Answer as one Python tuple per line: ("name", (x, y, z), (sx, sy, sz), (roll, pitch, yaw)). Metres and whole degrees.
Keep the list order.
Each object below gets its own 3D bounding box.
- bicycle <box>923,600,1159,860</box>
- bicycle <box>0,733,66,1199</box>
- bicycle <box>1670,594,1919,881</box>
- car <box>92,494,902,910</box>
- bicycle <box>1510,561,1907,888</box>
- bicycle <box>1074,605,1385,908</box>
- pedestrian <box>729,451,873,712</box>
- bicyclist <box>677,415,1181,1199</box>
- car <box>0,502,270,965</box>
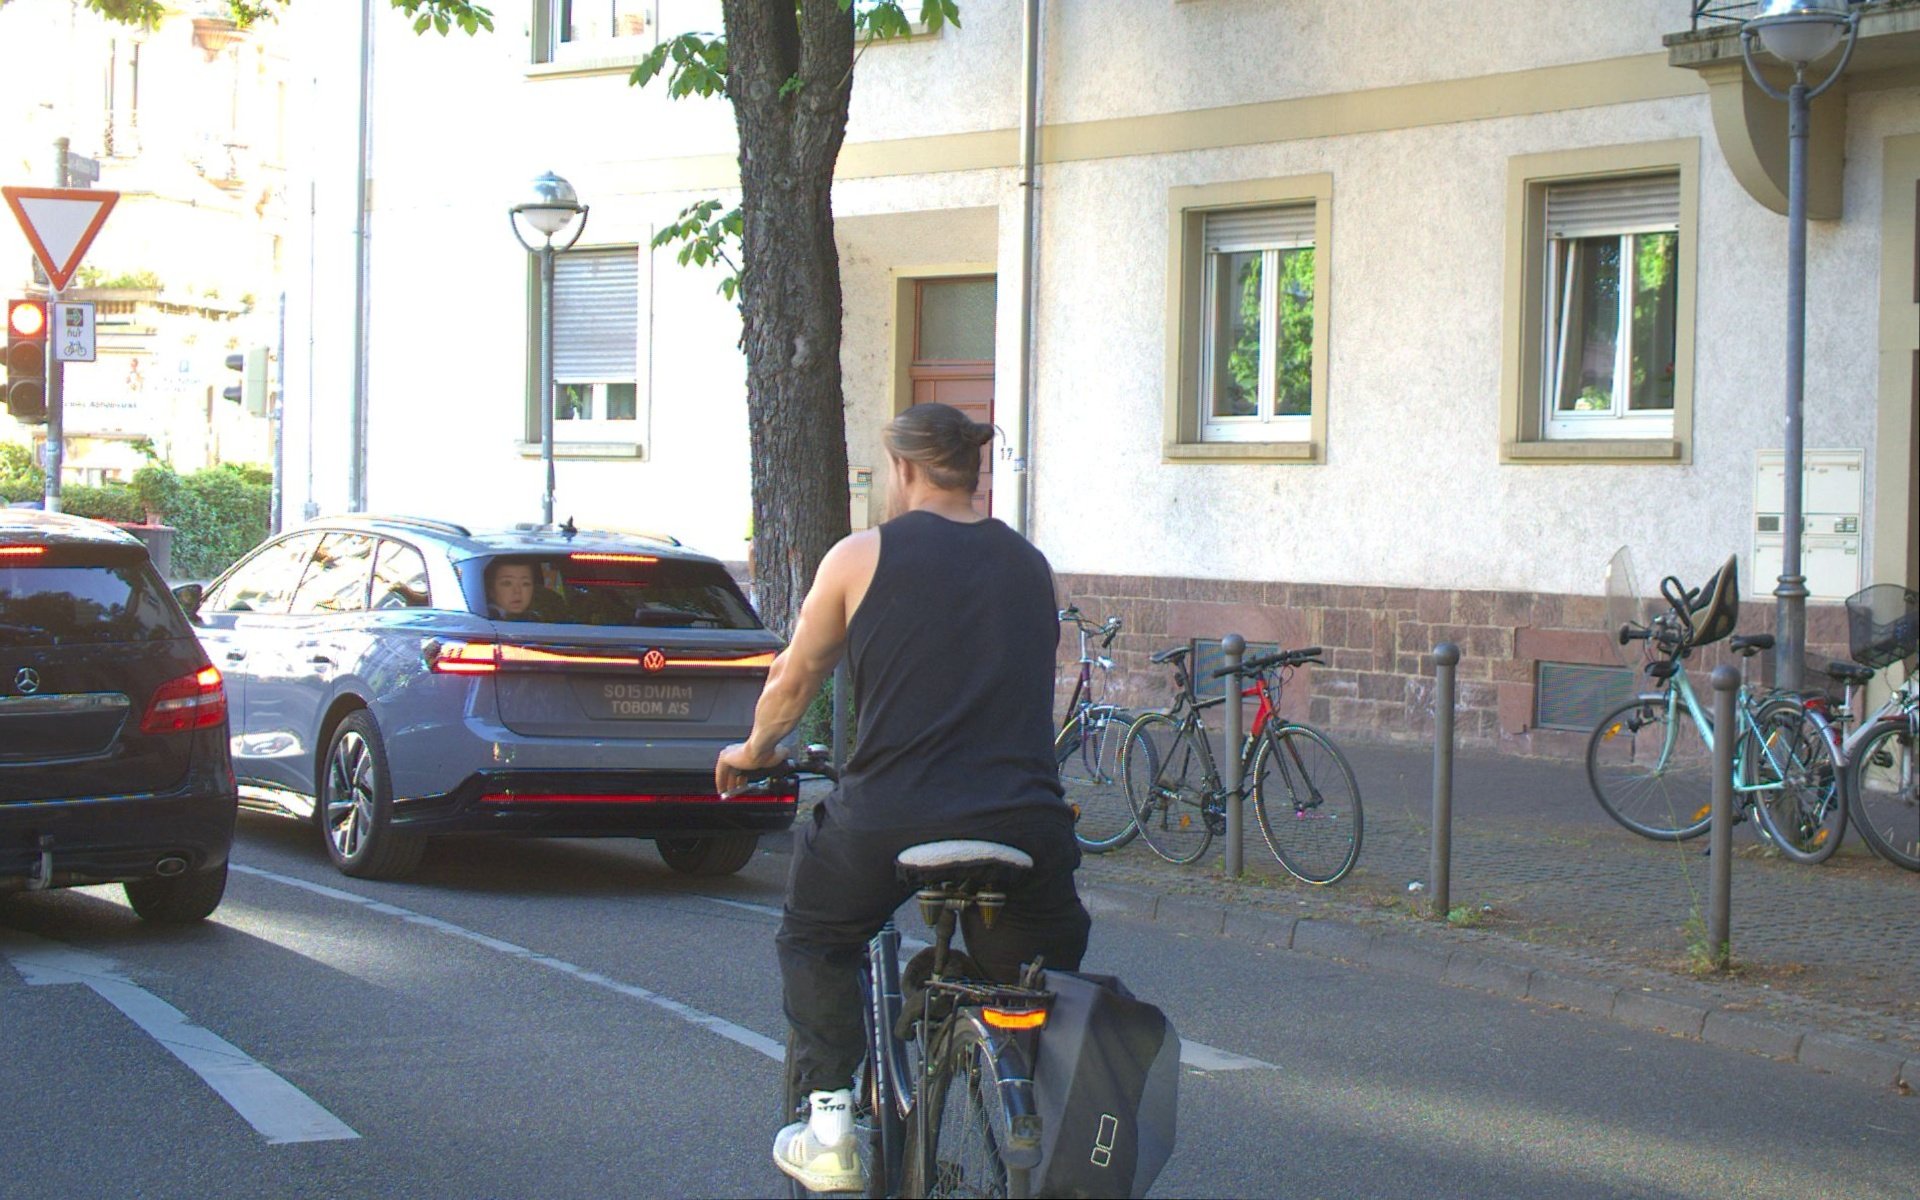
("bicycle", (0.357, 0.575, 15.998), (0.480, 1.060, 1.636), (-2, 3, -22))
("bicycle", (-2.408, 0.773, 6.700), (0.717, 1.103, 1.967), (1, 1, -32))
("bicycle", (3.904, 0.562, 14.898), (0.667, 1.103, 1.967), (1, 1, -19))
("car", (-2.289, 0.382, 15.786), (1.970, 1.580, 4.475), (3, 0, -31))
("bicycle", (3.192, 0.490, 14.880), (0.717, 1.273, 1.967), (-1, 2, -21))
("bicycle", (1.100, 0.619, 14.414), (0.526, 1.103, 1.741), (-2, 3, -24))
("pedestrian", (-1.084, -0.141, 23.302), (0.643, 1.721, 0.888), (-2, 3, -27))
("bicyclist", (-0.087, 0.502, 6.281), (0.686, 1.650, 0.990), (0, 2, -15))
("car", (-4.241, 0.402, 13.167), (1.790, 1.536, 3.860), (-2, 2, -34))
